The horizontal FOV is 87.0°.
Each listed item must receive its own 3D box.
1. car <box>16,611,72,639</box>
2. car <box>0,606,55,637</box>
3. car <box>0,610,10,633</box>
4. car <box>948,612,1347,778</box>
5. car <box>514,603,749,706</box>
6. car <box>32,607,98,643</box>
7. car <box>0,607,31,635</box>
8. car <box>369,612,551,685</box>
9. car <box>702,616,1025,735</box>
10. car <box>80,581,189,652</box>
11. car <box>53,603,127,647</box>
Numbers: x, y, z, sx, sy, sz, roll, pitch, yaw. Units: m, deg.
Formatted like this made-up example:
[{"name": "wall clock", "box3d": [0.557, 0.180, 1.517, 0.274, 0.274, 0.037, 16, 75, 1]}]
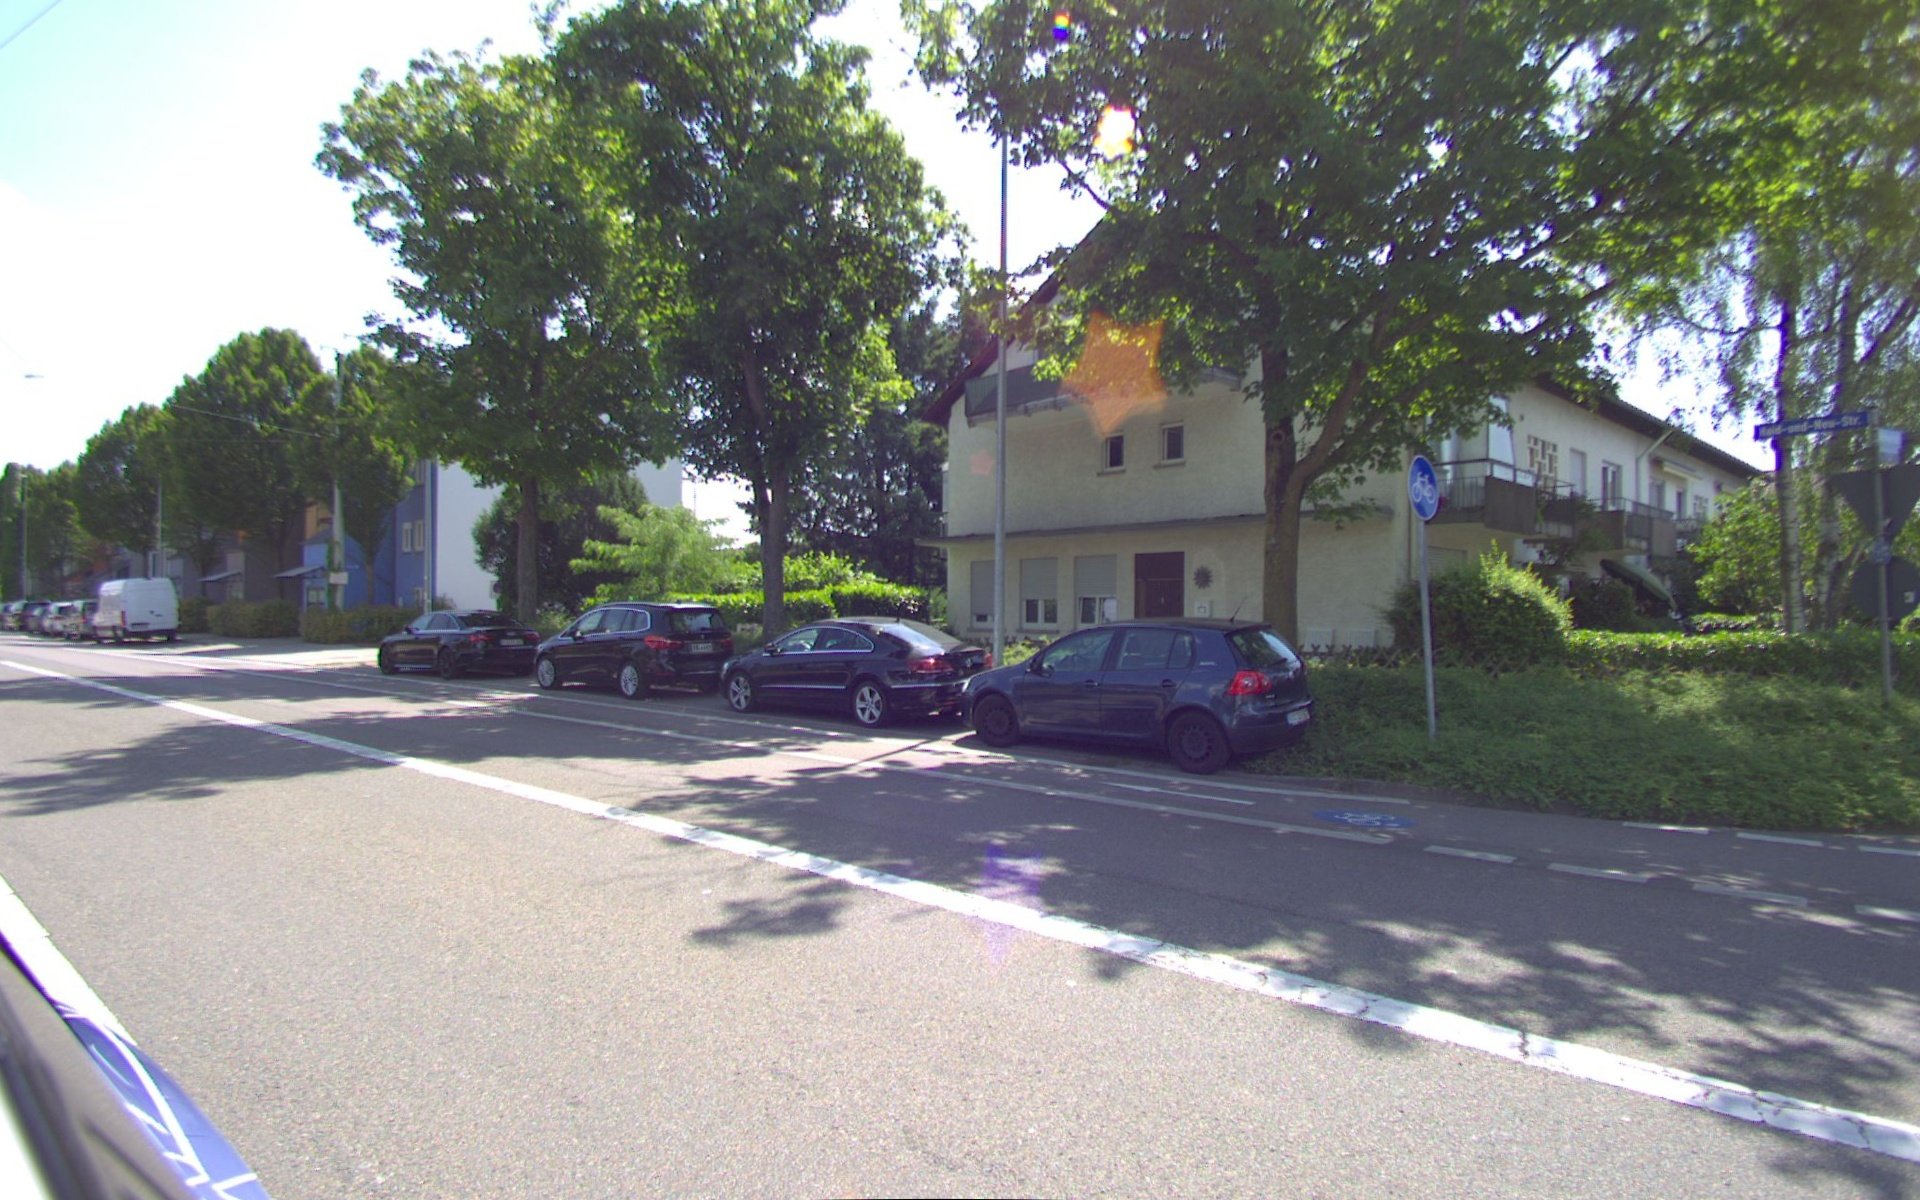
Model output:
[{"name": "car", "box3d": [-49.954, 1.358, 55.170, 4.082, 1.482, 1.583, 0, -1, 38]}, {"name": "car", "box3d": [-53.790, 1.243, 58.129, 4.879, 1.729, 1.735, -1, -2, 37]}, {"name": "car", "box3d": [-62.810, 1.385, 64.952, 4.953, 1.457, 1.726, -1, 0, 36]}, {"name": "car", "box3d": [1.973, 0.897, 11.314, 4.044, 1.492, 1.757, -1, 0, 40]}, {"name": "car", "box3d": [-5.981, 0.879, 18.157, 4.632, 1.616, 1.757, -1, 0, 39]}, {"name": "car", "box3d": [-45.646, 1.261, 51.592, 4.898, 1.765, 1.699, 0, -2, 39]}, {"name": "car", "box3d": [-58.087, 1.280, 61.517, 4.278, 1.629, 1.640, 0, -1, 37]}, {"name": "car", "box3d": [-11.133, 0.991, 22.375, 4.798, 1.467, 1.757, -1, -1, 39]}, {"name": "car", "box3d": [-1.502, 0.952, 14.480, 4.691, 1.383, 1.758, -1, 1, 39]}, {"name": "car", "box3d": [-35.060, 0.663, 42.901, 7.031, 2.670, 2.300, -1, 2, 41]}, {"name": "car", "box3d": [-41.179, 1.140, 47.866, 5.357, 1.909, 1.788, -1, 1, 40]}]
